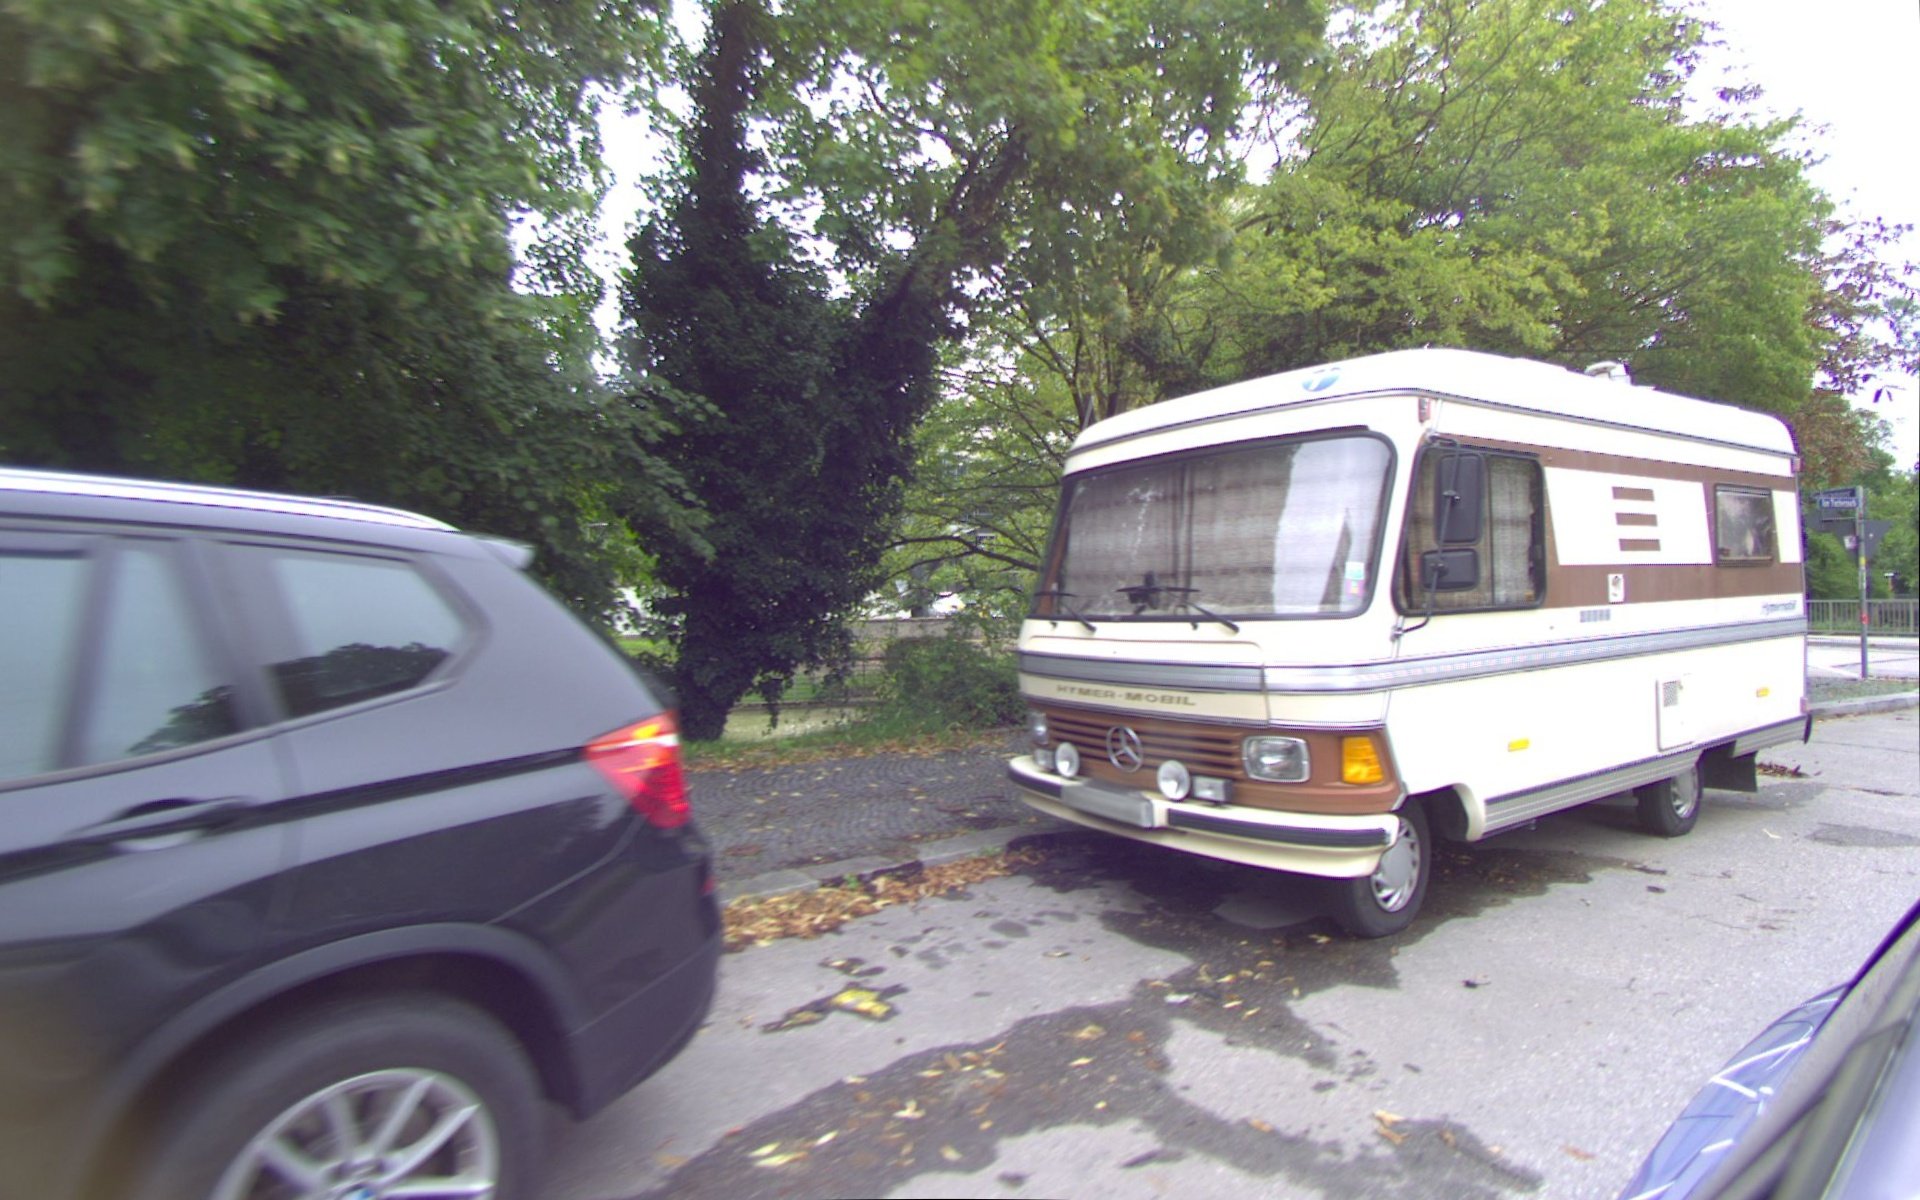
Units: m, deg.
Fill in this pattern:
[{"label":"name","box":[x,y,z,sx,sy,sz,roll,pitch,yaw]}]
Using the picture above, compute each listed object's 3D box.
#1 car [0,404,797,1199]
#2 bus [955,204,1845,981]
[{"label":"car","box":[-2.595,0.561,1.556,4.384,1.670,1.778,-1,0,-42]},{"label":"bus","box":[2.943,-0.060,6.125,5.625,2.733,2.323,-1,0,-35]}]
